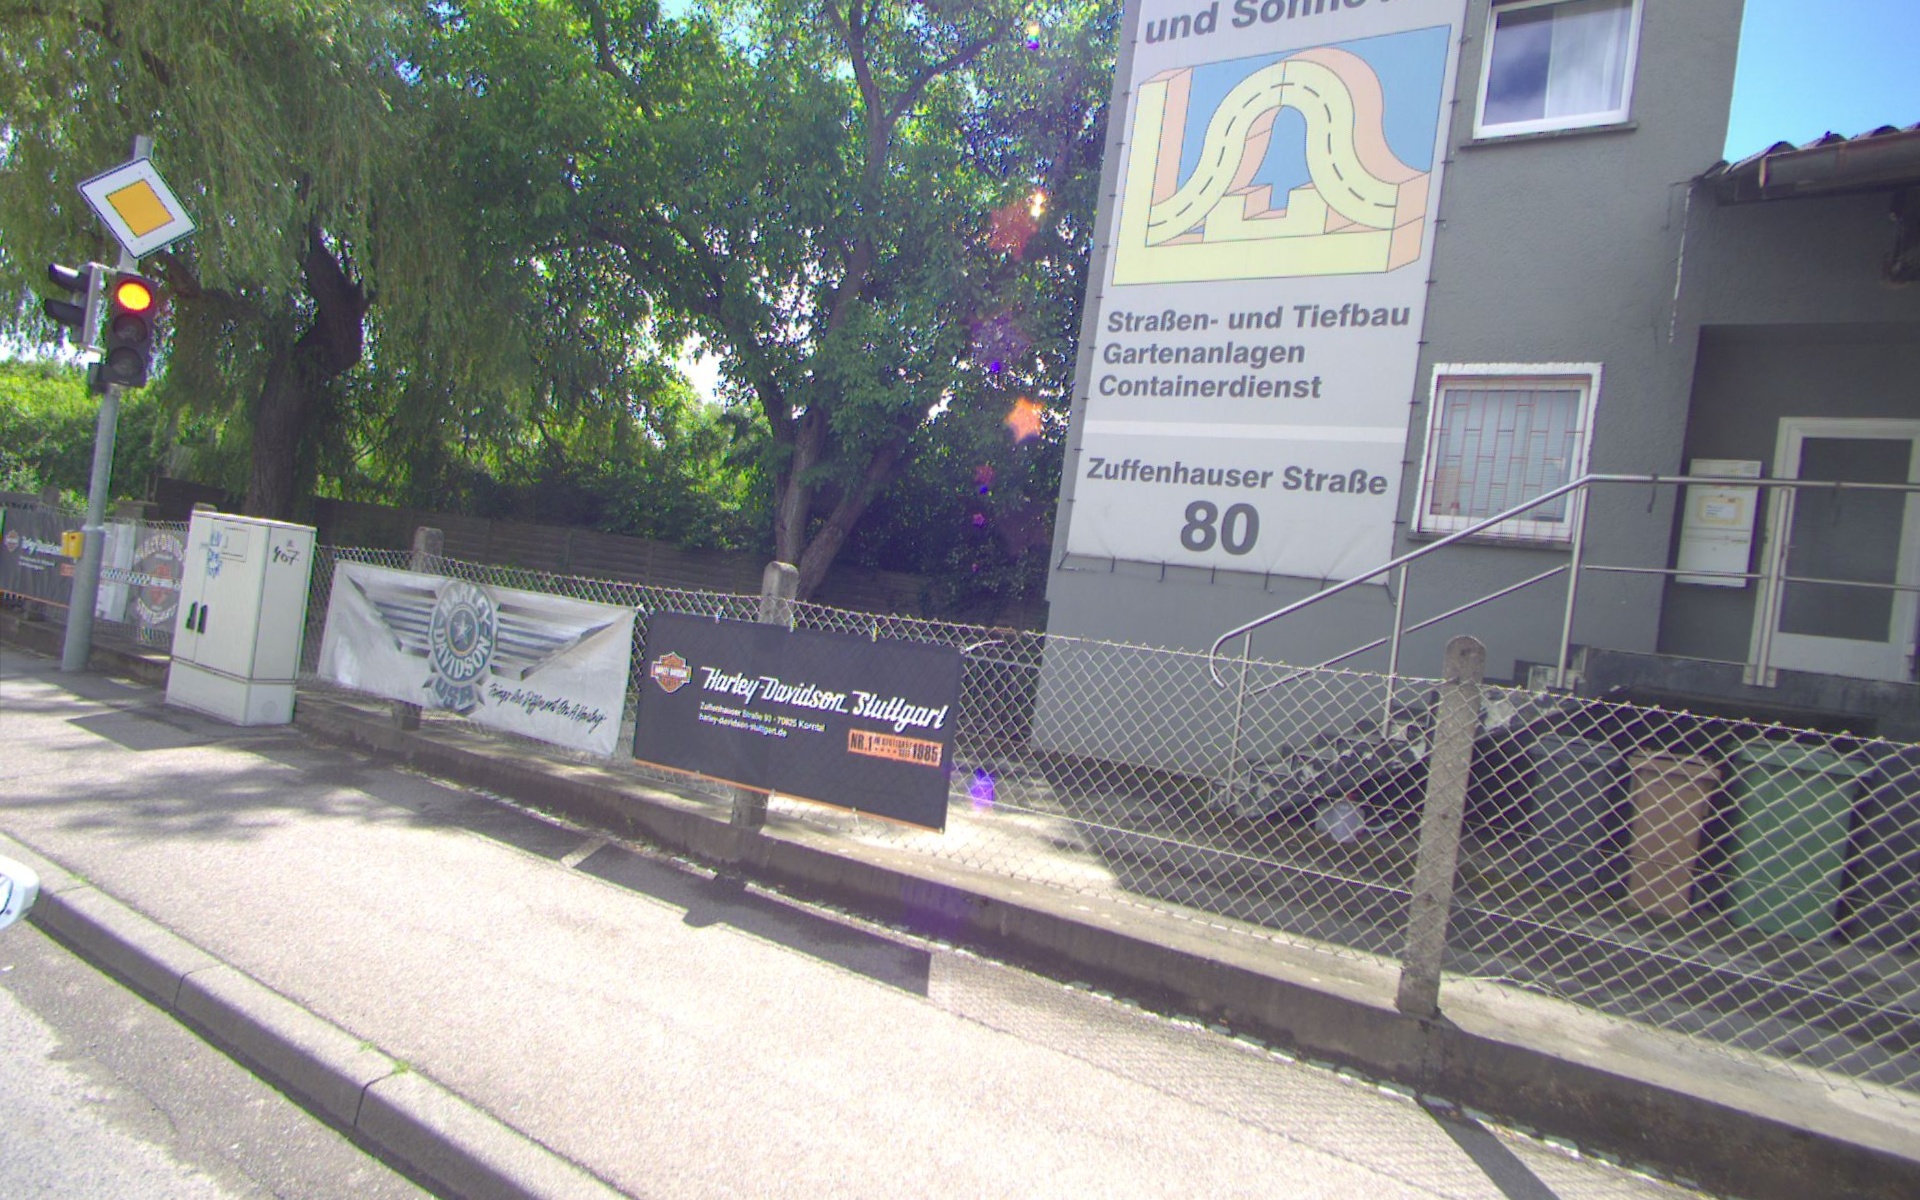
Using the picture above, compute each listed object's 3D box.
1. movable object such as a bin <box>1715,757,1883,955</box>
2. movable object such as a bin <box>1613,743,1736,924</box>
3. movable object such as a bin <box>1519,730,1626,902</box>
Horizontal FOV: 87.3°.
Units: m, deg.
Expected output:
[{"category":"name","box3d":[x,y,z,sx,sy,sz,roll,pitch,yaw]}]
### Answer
[{"category":"movable object such as a bin","box3d":[4.752,1.423,5.733,0.574,0.941,0.482,6,-1,30]},{"category":"movable object such as a bin","box3d":[4.256,1.369,6.024,0.466,0.941,0.482,7,-1,30]},{"category":"movable object such as a bin","box3d":[3.811,1.320,6.287,0.466,0.941,0.482,7,-1,30]}]
